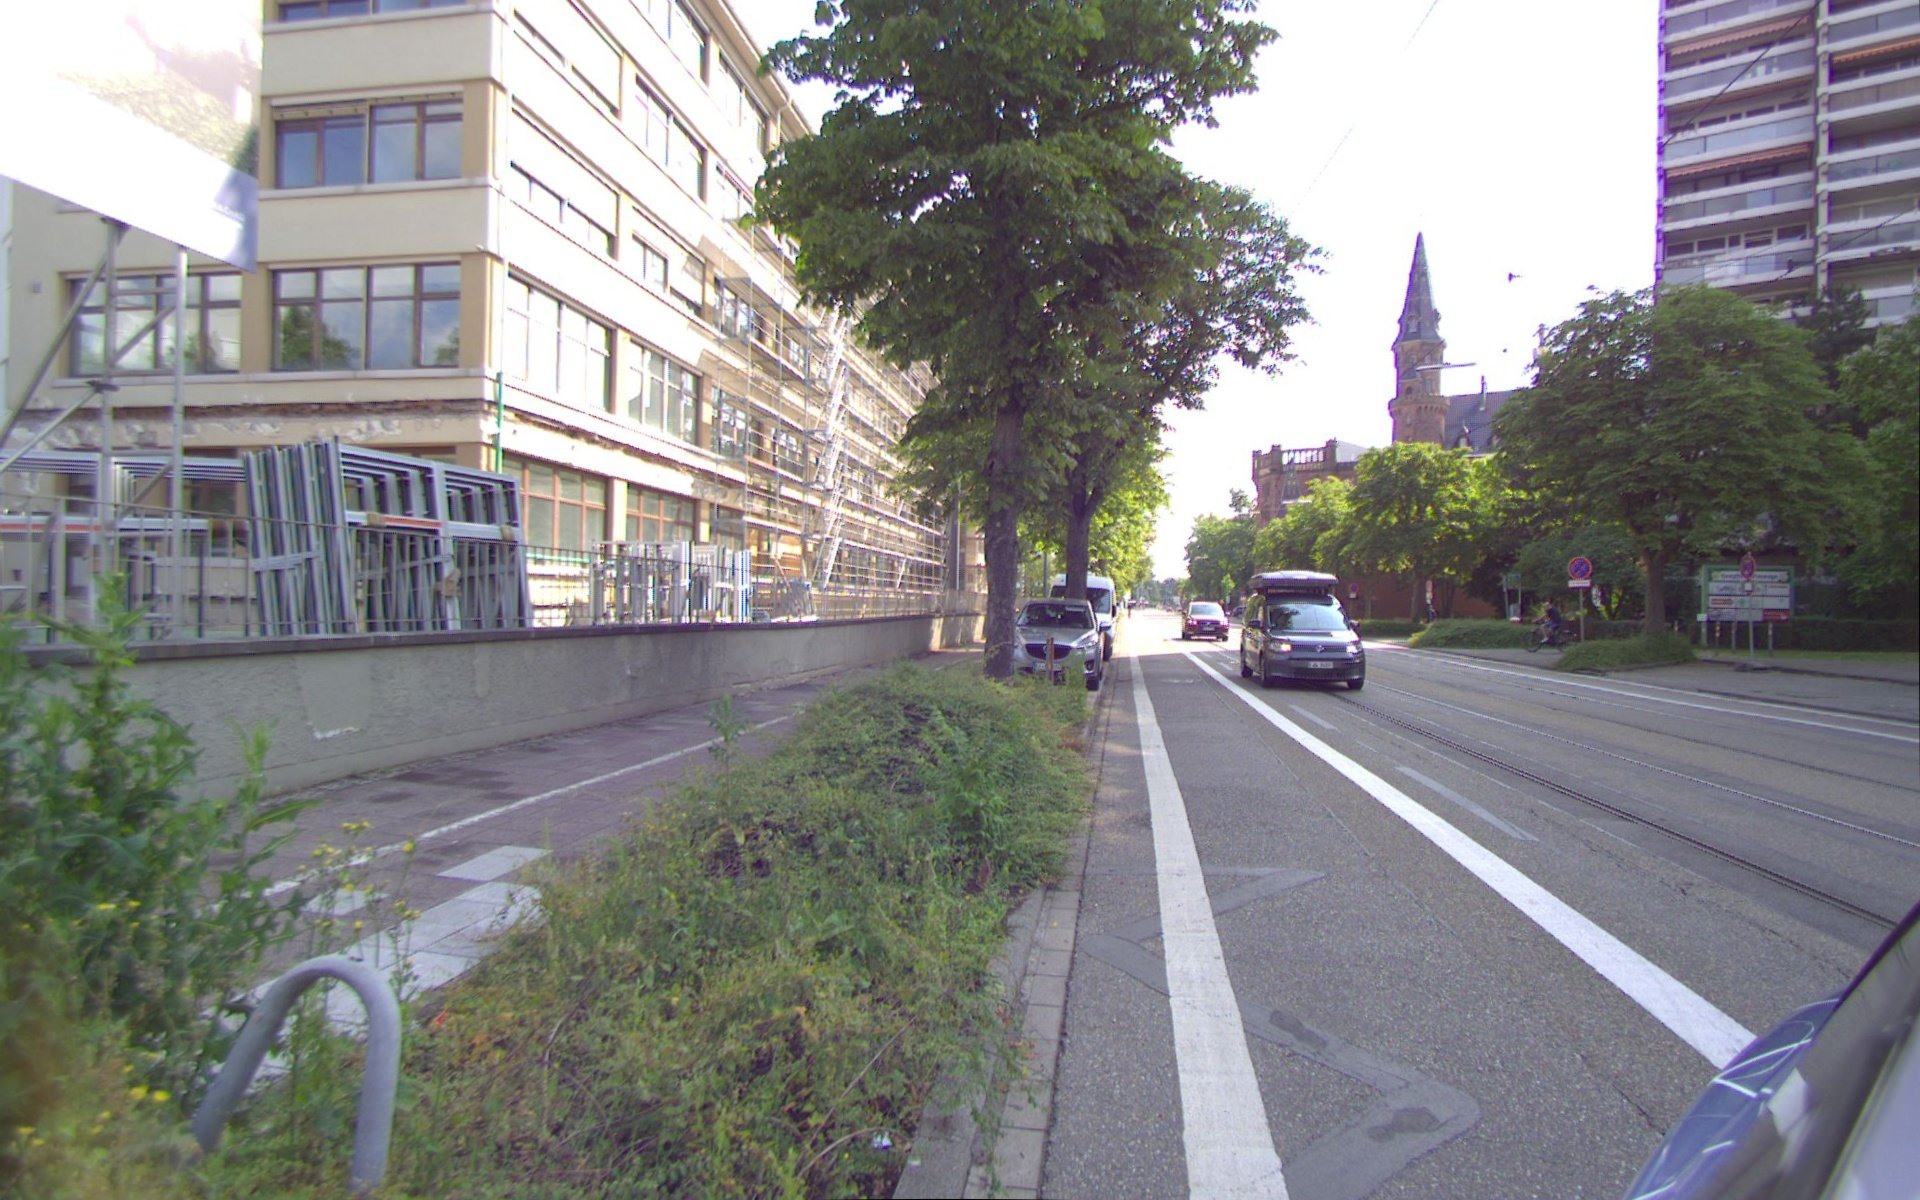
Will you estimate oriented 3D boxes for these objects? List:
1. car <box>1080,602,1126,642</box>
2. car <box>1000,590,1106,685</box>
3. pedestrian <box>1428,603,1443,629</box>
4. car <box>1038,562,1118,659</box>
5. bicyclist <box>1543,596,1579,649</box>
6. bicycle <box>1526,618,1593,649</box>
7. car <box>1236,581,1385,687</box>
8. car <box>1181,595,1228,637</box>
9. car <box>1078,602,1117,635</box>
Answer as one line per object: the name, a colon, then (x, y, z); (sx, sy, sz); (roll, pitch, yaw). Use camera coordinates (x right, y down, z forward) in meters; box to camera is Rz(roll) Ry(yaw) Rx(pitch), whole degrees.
car: (5.872, 0.852, 41.277); (1.712, 1.389, 4.495); (3, 1, 9)
car: (1.923, 0.668, 19.818); (1.742, 1.627, 4.445); (0, -1, 9)
pedestrian: (30.829, 1.042, 65.581); (0.756, 1.650, 0.733); (-1, 0, 19)
car: (3.668, 0.261, 30.450); (2.095, 2.600, 5.903); (1, 0, 9)
bicyclist: (20.587, 0.755, 34.672); (0.765, 1.762, 0.727); (-1, 0, -22)
bicycle: (20.574, 1.134, 34.779); (0.557, 0.993, 1.986); (-1, 0, -24)
car: (6.723, 0.578, 19.950); (1.915, 1.796, 4.824); (1, 0, 9)
car: (10.696, 0.661, 44.466); (1.651, 1.631, 3.962); (-1, 1, 8)
car: (6.799, 0.894, 49.815); (1.546, 1.475, 3.879); (-1, 0, 13)
